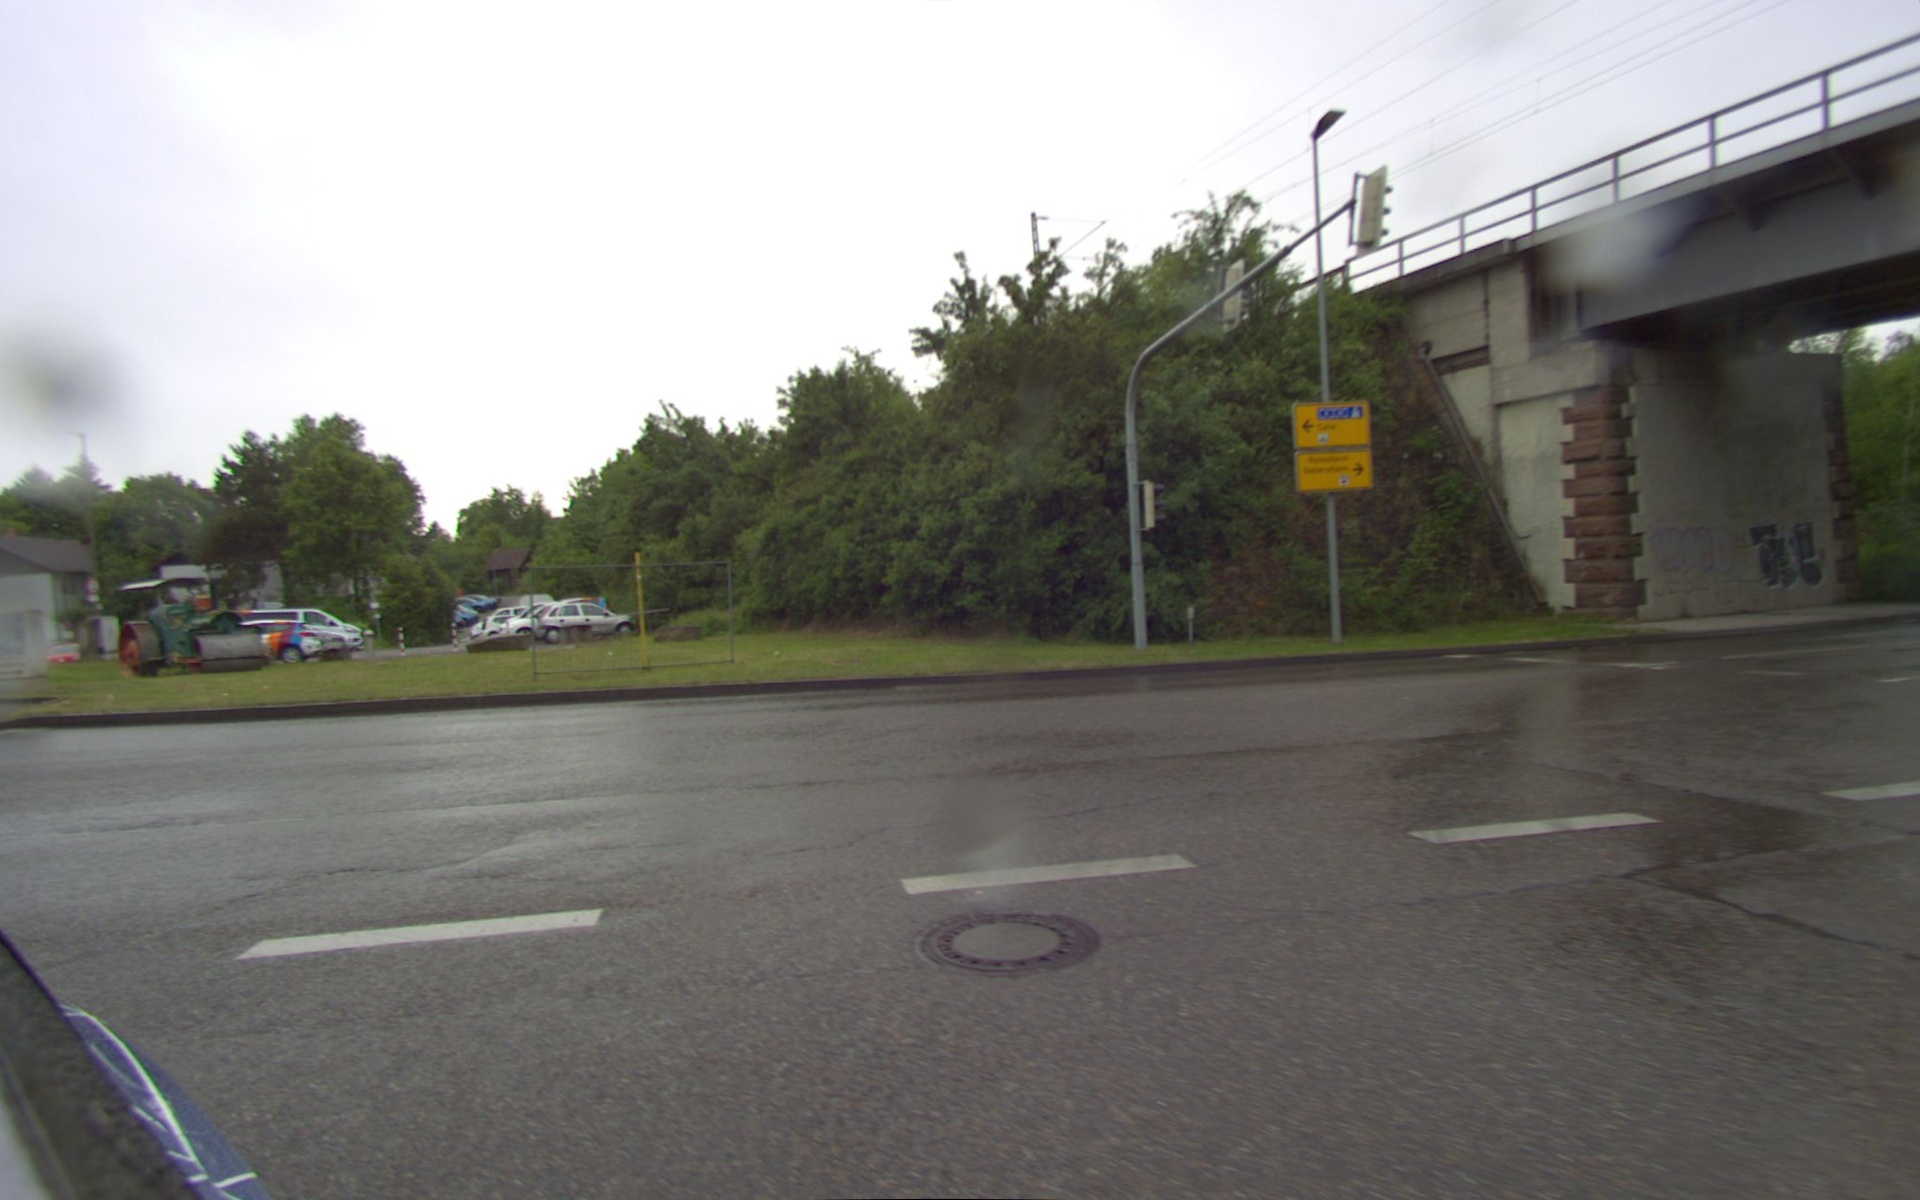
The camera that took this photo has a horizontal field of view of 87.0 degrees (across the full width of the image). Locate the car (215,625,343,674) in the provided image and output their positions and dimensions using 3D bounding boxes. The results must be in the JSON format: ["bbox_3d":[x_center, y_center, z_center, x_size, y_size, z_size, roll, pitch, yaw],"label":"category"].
[{"bbox_3d":[-24.890,1.788,37.147,3.646,1.586,1.597,-2,0,-24],"label":"car"}]

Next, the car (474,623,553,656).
[{"bbox_3d":[-24.757,2.145,56.141,3.815,1.640,1.699,-2,0,-29],"label":"car"}]

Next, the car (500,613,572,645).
[{"bbox_3d":[-22.673,1.555,54.142,3.420,1.551,1.452,-2,0,-27],"label":"car"}]

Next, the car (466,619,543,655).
[{"bbox_3d":[-26.136,2.082,58.090,3.895,1.893,1.699,-2,0,-29],"label":"car"}]

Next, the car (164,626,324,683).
[{"bbox_3d":[-22.918,1.718,32.577,3.931,1.586,1.676,-2,0,-25],"label":"car"}]

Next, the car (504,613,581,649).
[{"bbox_3d":[-19.724,1.430,47.838,3.304,1.551,1.452,-2,0,-24],"label":"car"}]

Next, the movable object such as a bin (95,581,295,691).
[{"bbox_3d":[-20.757,1.003,27.390,5.681,2.706,2.287,-3,-1,31],"label":"movable object such as a bin"}]

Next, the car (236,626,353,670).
[{"bbox_3d":[-25.829,1.835,39.410,3.565,1.522,1.597,-2,0,-24],"label":"car"}]

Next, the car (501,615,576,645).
[{"bbox_3d":[-21.668,1.517,52.024,3.420,1.409,1.452,-2,0,-27],"label":"car"}]

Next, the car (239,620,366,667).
[{"bbox_3d":[-28.301,1.837,43.705,4.313,1.779,1.928,-2,0,-24],"label":"car"}]

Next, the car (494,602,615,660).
[{"bbox_3d":[-15.549,1.156,38.827,4.162,1.995,1.910,-2,0,-25],"label":"car"}]

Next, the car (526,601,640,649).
[{"bbox_3d":[-13.839,0.899,37.103,3.758,1.580,1.780,-2,0,-25],"label":"car"}]
